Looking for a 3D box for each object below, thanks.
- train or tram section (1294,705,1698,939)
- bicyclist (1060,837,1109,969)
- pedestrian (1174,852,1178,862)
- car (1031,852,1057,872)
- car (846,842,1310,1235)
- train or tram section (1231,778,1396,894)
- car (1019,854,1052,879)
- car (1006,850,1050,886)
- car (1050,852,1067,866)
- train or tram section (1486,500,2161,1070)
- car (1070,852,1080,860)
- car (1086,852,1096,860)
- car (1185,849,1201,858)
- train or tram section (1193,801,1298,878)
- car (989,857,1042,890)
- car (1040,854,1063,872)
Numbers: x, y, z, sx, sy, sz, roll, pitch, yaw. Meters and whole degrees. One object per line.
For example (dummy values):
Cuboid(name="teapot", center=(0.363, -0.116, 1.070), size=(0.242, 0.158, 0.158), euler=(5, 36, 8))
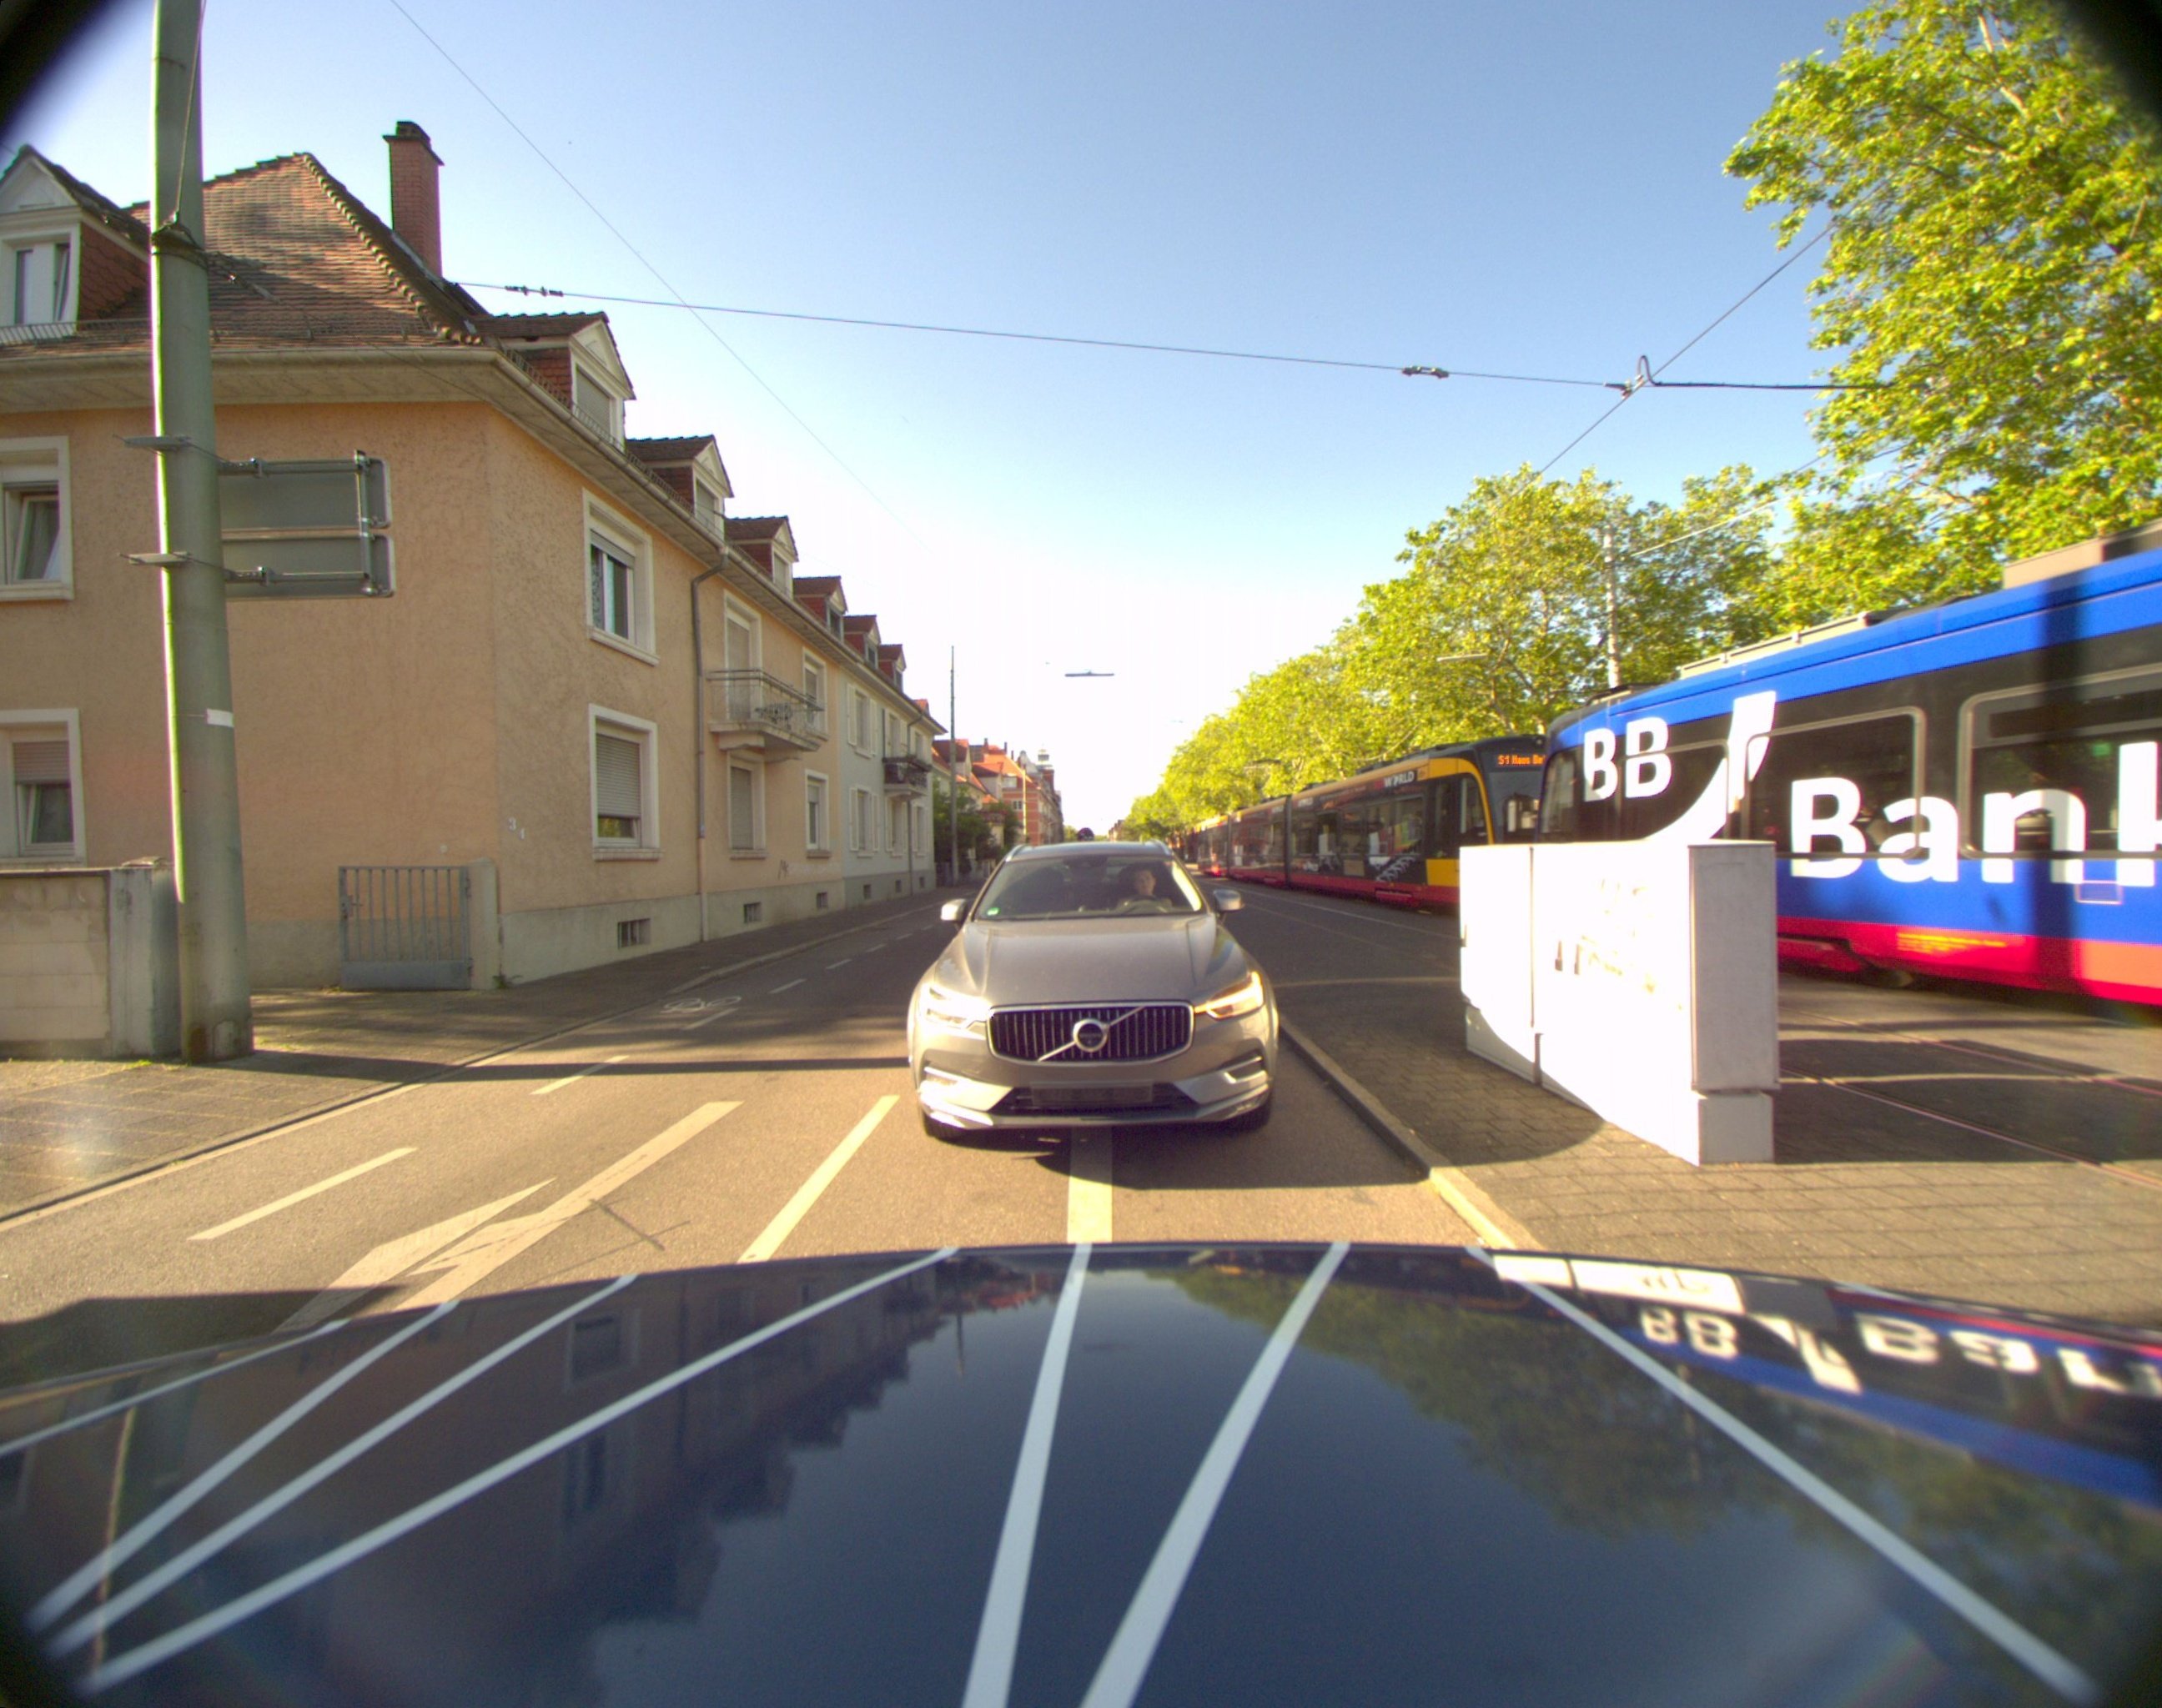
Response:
Cuboid(name="train or tram section", center=(8.178, -0.521, 17.916), size=(3.063, 3.592, 12.114), euler=(-1, 0, 1))
Cuboid(name="bicyclist", center=(0.051, 0.634, 10.223), size=(0.600, 1.709, 0.662), euler=(-1, 1, 1))
Cuboid(name="pedestrian", center=(15.481, 0.443, 123.432), size=(0.578, 1.632, 0.677), euler=(-1, 1, 3))
Cuboid(name="car", center=(-2.939, 0.623, 61.128), size=(1.882, 1.477, 3.999), euler=(-1, 0, -1))
Cuboid(name="car", center=(0.019, 0.768, 5.439), size=(1.917, 1.621, 4.502), euler=(-1, 0, 1))
Cuboid(name="train or tram section", center=(8.500, -0.586, 29.937), size=(3.062, 3.592, 11.950), euler=(-1, 0, 1))
Cuboid(name="car", center=(-2.829, 0.782, 48.358), size=(1.882, 1.477, 3.999), euler=(-1, 0, -1))
Cuboid(name="car", center=(-2.906, 0.726, 42.858), size=(1.932, 1.834, 5.313), euler=(-1, 0, 2))
Cuboid(name="car", center=(-2.496, 0.546, 85.724), size=(1.882, 1.477, 3.999), euler=(-1, 0, -1))
Cuboid(name="train or tram section", center=(8.272, -0.461, 5.859), size=(3.064, 3.592, 12.109), euler=(-1, 0, -4))
Cuboid(name="car", center=(-1.108, 0.304, 148.217), size=(1.882, 1.477, 3.999), euler=(-1, 0, -1))
Cuboid(name="car", center=(1.859, 0.342, 145.774), size=(1.882, 1.477, 3.999), euler=(-1, 0, -1))
Cuboid(name="car", center=(18.523, -0.076, 125.684), size=(1.882, 1.542, 3.999), euler=(-1, 0, -2))
Cuboid(name="train or tram section", center=(8.709, -0.720, 42.304), size=(3.063, 3.592, 12.888), euler=(-1, 0, 0))
Cuboid(name="car", center=(-3.139, 0.919, 37.173), size=(1.881, 1.477, 4.001), euler=(-1, 0, 5))
Cuboid(name="car", center=(-2.605, 0.769, 66.816), size=(1.882, 1.477, 3.999), euler=(-1, 0, -1))
